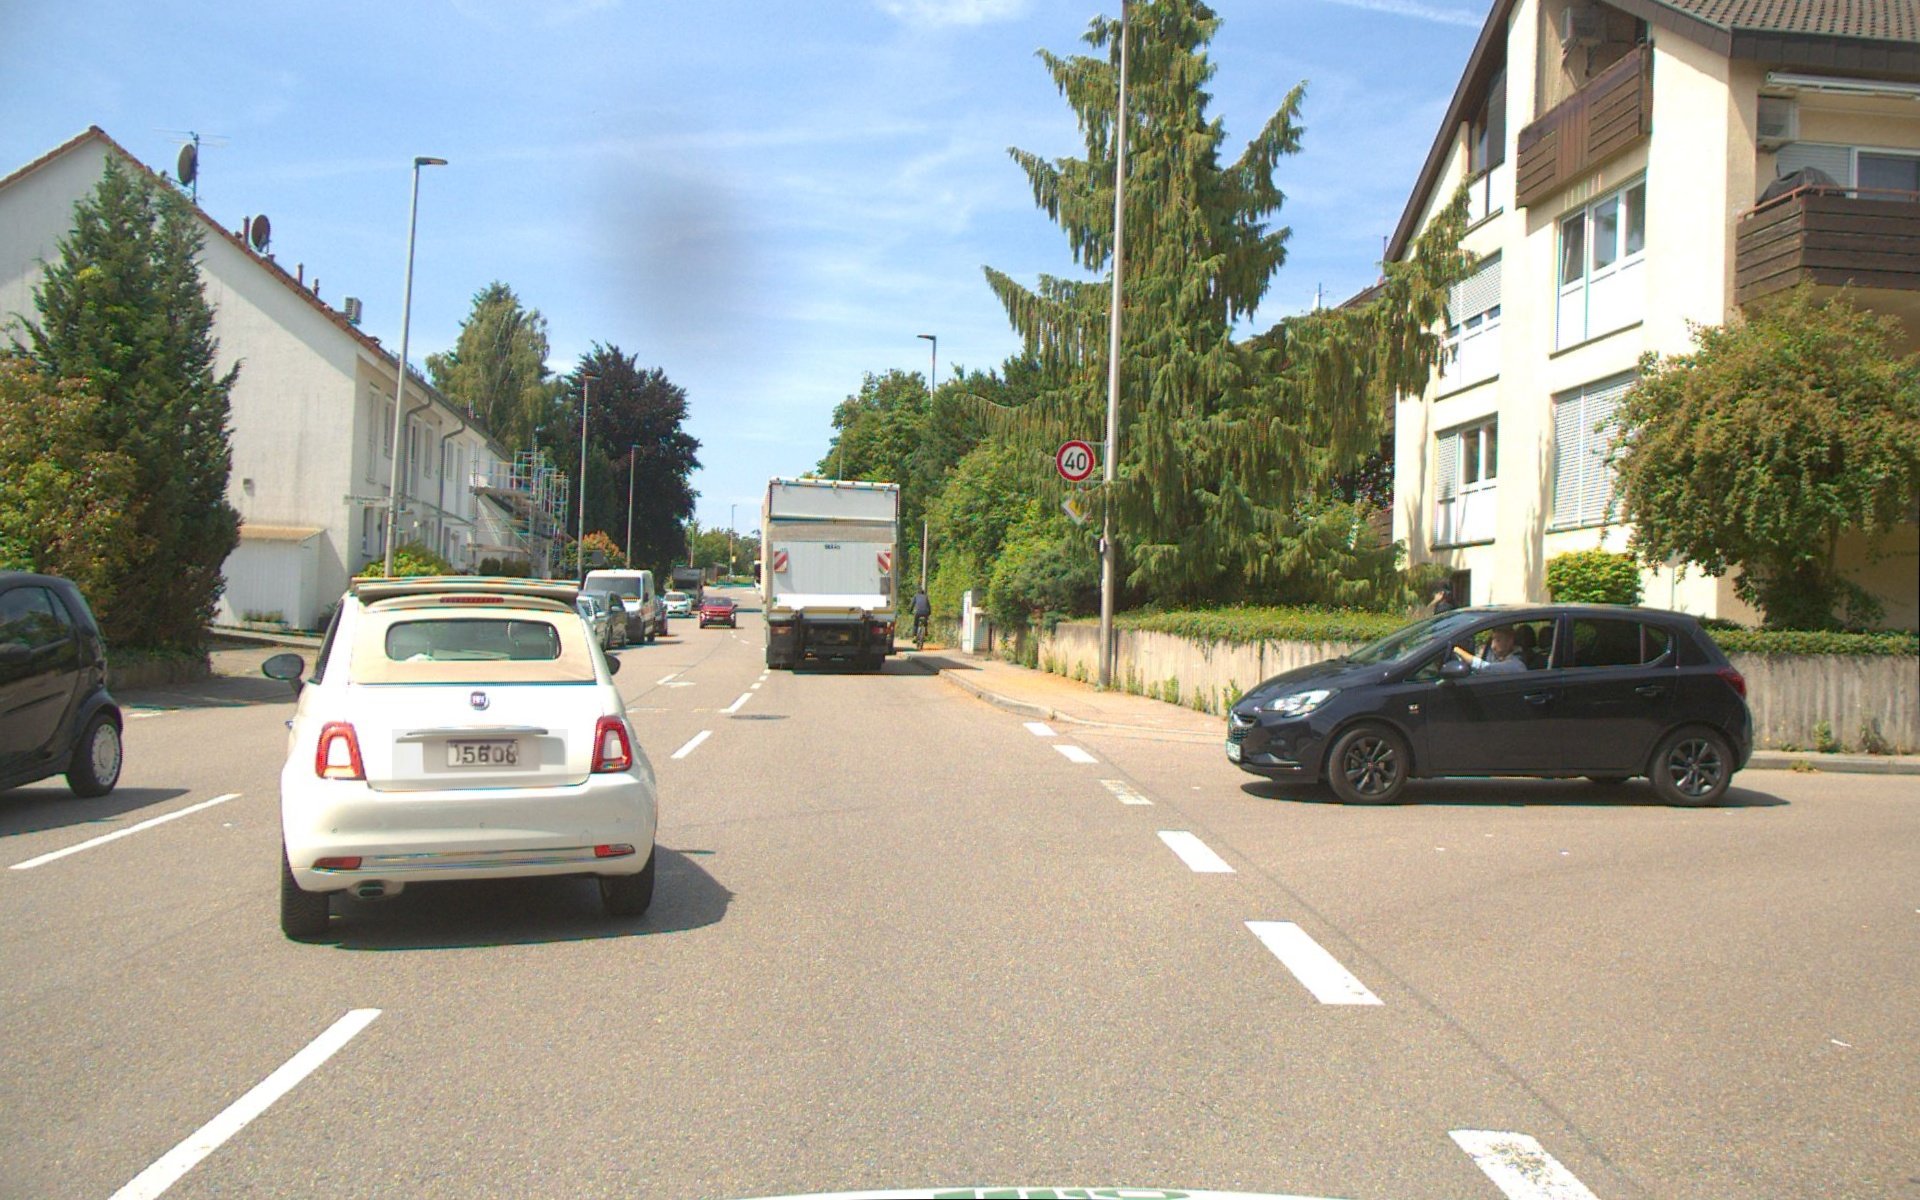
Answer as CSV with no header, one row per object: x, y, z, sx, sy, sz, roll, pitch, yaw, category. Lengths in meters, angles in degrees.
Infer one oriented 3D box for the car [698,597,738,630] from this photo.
-12.058,0.661,82.537,1.798,1.561,3.994,2,0,-7,car

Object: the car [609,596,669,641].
-12.348,0.692,63.822,1.999,1.622,4.749,1,0,-8,car

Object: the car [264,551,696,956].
-2.661,0.626,8.679,1.700,1.587,3.974,1,-1,-22,car

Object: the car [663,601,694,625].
-17.660,0.811,103.695,1.447,1.520,3.079,1,0,-1,car

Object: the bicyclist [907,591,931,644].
-1.154,0.486,46.536,0.577,1.437,0.741,2,0,-6,bicyclist

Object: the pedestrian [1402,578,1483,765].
4.553,0.657,15.599,0.681,1.701,0.570,1,0,18,pedestrian

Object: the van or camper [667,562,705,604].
-20.957,-1.278,126.887,2.220,3.014,5.883,2,0,-4,van or camper

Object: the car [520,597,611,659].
-9.648,0.644,40.668,1.771,1.422,3.993,1,0,-8,car

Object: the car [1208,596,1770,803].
4.009,0.730,12.923,3.854,1.483,1.658,1,0,-2,car

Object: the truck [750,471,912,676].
-2.895,-0.480,35.132,3.010,3.840,7.855,1,0,-7,truck

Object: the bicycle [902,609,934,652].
-1.189,0.842,46.570,0.655,1.123,2.422,2,0,-6,bicycle

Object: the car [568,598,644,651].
-9.931,0.664,46.659,1.771,1.422,3.961,1,0,-8,car

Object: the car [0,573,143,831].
-6.523,0.607,10.527,1.451,1.537,2.797,0,0,-5,car

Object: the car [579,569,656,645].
-10.813,0.202,52.536,1.999,2.238,5.573,1,0,-8,car
